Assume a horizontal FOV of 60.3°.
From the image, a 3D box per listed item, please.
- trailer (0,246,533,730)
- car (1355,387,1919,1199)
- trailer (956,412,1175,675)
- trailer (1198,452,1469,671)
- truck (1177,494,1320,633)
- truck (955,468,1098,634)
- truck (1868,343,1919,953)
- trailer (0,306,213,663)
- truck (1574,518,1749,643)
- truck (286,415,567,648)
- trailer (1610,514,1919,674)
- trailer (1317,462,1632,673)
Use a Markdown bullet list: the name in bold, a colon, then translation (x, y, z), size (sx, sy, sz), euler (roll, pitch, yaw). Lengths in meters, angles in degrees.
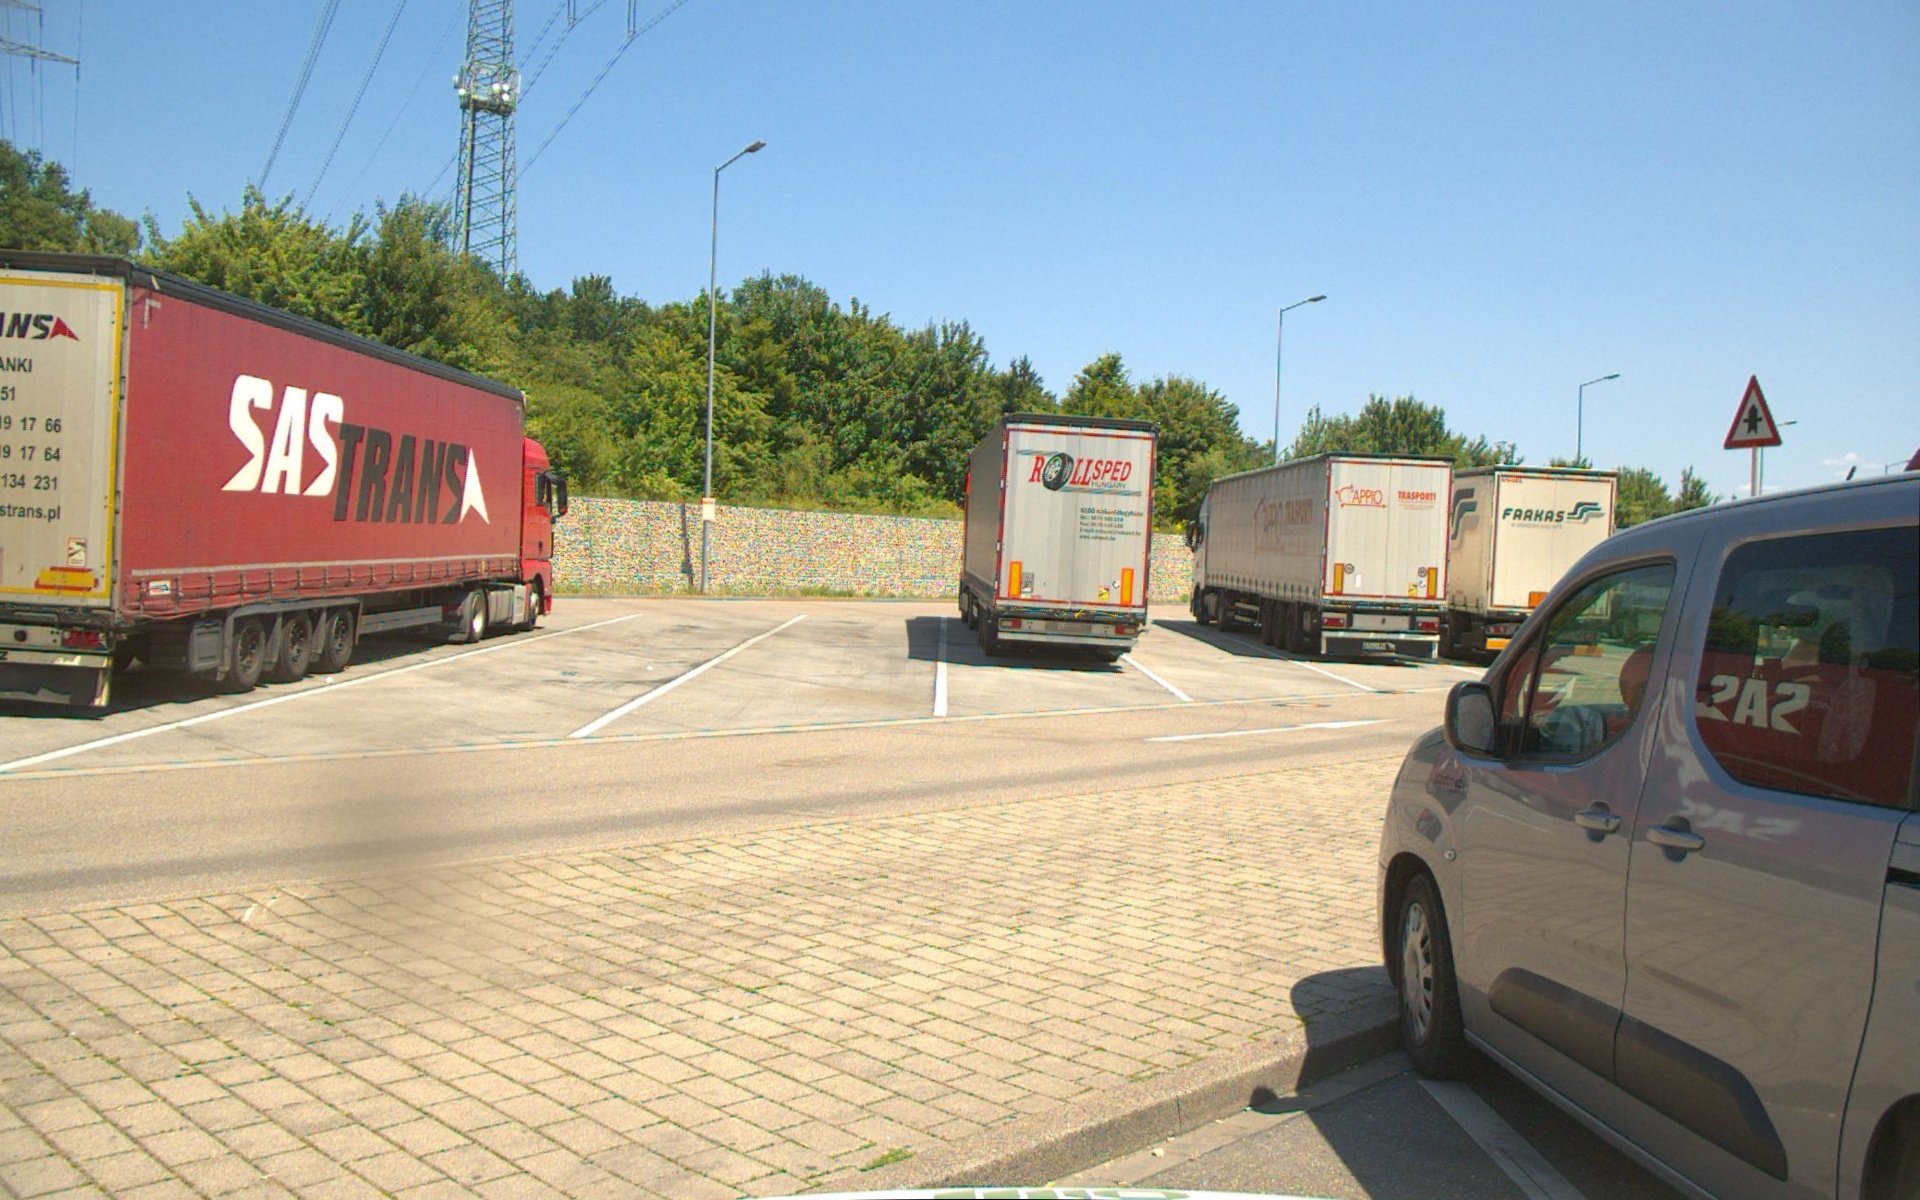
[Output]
- **trailer**: translation (-8.718, -1.288, 21.425), size (2.735, 4.155, 14.131), euler (3, 2, -1)
- **car**: translation (2.446, 0.603, 3.845), size (1.832, 1.896, 4.174), euler (3, 1, -2)
- **trailer**: translation (1.667, -1.191, 33.631), size (3.070, 4.058, 14.393), euler (3, 2, -1)
- **trailer**: translation (8.180, -1.027, 38.839), size (2.754, 4.058, 14.395), euler (3, 2, -1)
- **truck**: translation (8.063, -1.090, 46.939), size (2.804, 3.582, 5.900), euler (3, 2, -1)
- **truck**: translation (1.511, -1.237, 40.521), size (3.041, 3.628, 5.900), euler (3, 2, -1)
- **truck**: translation (5.008, 0.200, 4.968), size (1.937, 2.668, 5.307), euler (1, 0, 4)
- **trailer**: translation (-12.545, -1.334, 17.703), size (2.739, 4.155, 14.131), euler (3, 2, -1)
- **truck**: translation (21.776, -0.693, 51.723), size (2.746, 3.582, 5.900), euler (3, 2, -1)
- **truck**: translation (-8.783, -1.148, 27.996), size (2.793, 3.385, 5.900), euler (3, 2, -1)
- **trailer**: translation (21.853, -0.389, 44.493), size (2.754, 3.568, 14.395), euler (3, 2, -1)
- **trailer**: translation (11.743, -0.933, 39.943), size (2.754, 4.058, 14.395), euler (3, 2, -1)
